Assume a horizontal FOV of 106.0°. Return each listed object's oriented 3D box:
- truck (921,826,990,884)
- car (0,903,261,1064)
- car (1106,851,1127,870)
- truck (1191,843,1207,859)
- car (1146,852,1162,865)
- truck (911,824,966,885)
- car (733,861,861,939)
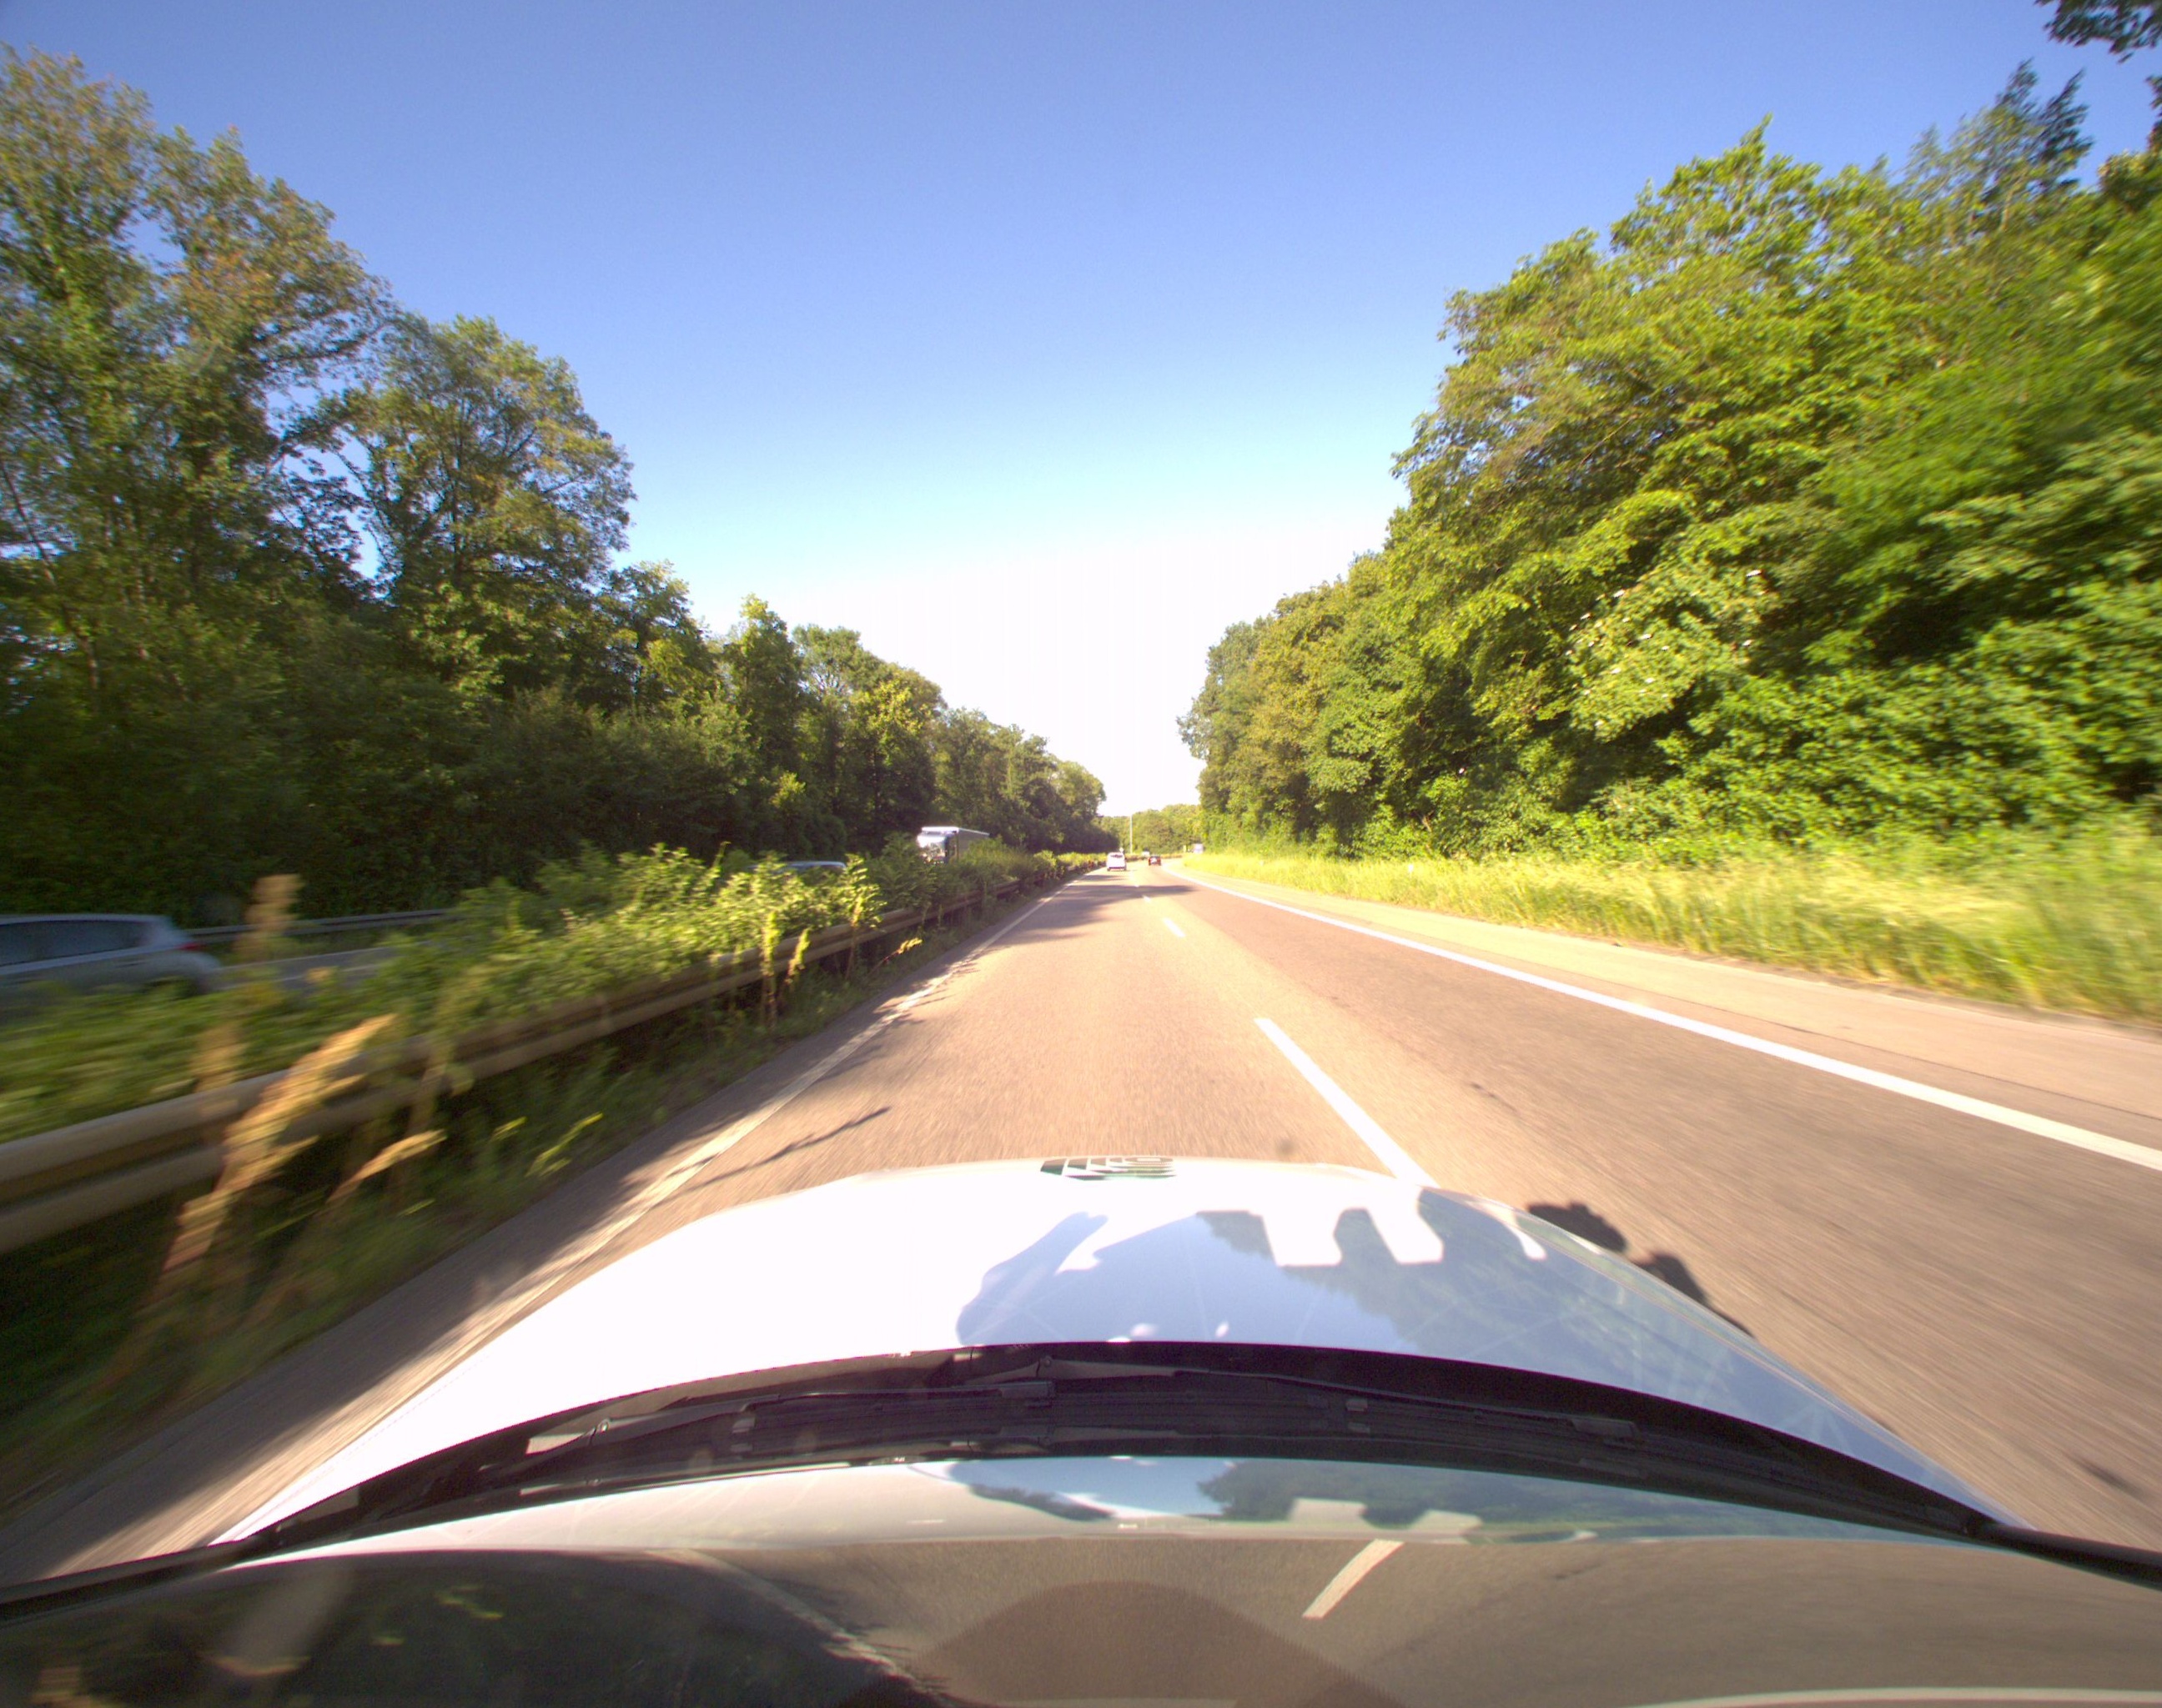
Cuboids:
[{"bbox_3d":[-9.648,0.121,64.581,2.697,4.096,14.029,-1,0,2],"label":"truck"},{"bbox_3d":[-11.428,1.335,8.186,1.793,1.442,4.438,-1,0,2],"label":"car"},{"bbox_3d":[3.507,0.650,80.802,1.944,1.782,4.588,-1,-1,1],"label":"car"},{"bbox_3d":[33.332,-0.912,229.631,3.708,4.343,9.339,-1,-1,14],"label":"truck"},{"bbox_3d":[10.519,0.629,117.832,1.944,1.782,4.588,-1,-1,1],"label":"car"},{"bbox_3d":[-9.953,0.066,57.452,2.705,4.097,5.439,-1,-1,2],"label":"truck"},{"bbox_3d":[-7.349,1.119,21.485,1.771,1.848,4.003,-1,-1,3],"label":"car"}]
